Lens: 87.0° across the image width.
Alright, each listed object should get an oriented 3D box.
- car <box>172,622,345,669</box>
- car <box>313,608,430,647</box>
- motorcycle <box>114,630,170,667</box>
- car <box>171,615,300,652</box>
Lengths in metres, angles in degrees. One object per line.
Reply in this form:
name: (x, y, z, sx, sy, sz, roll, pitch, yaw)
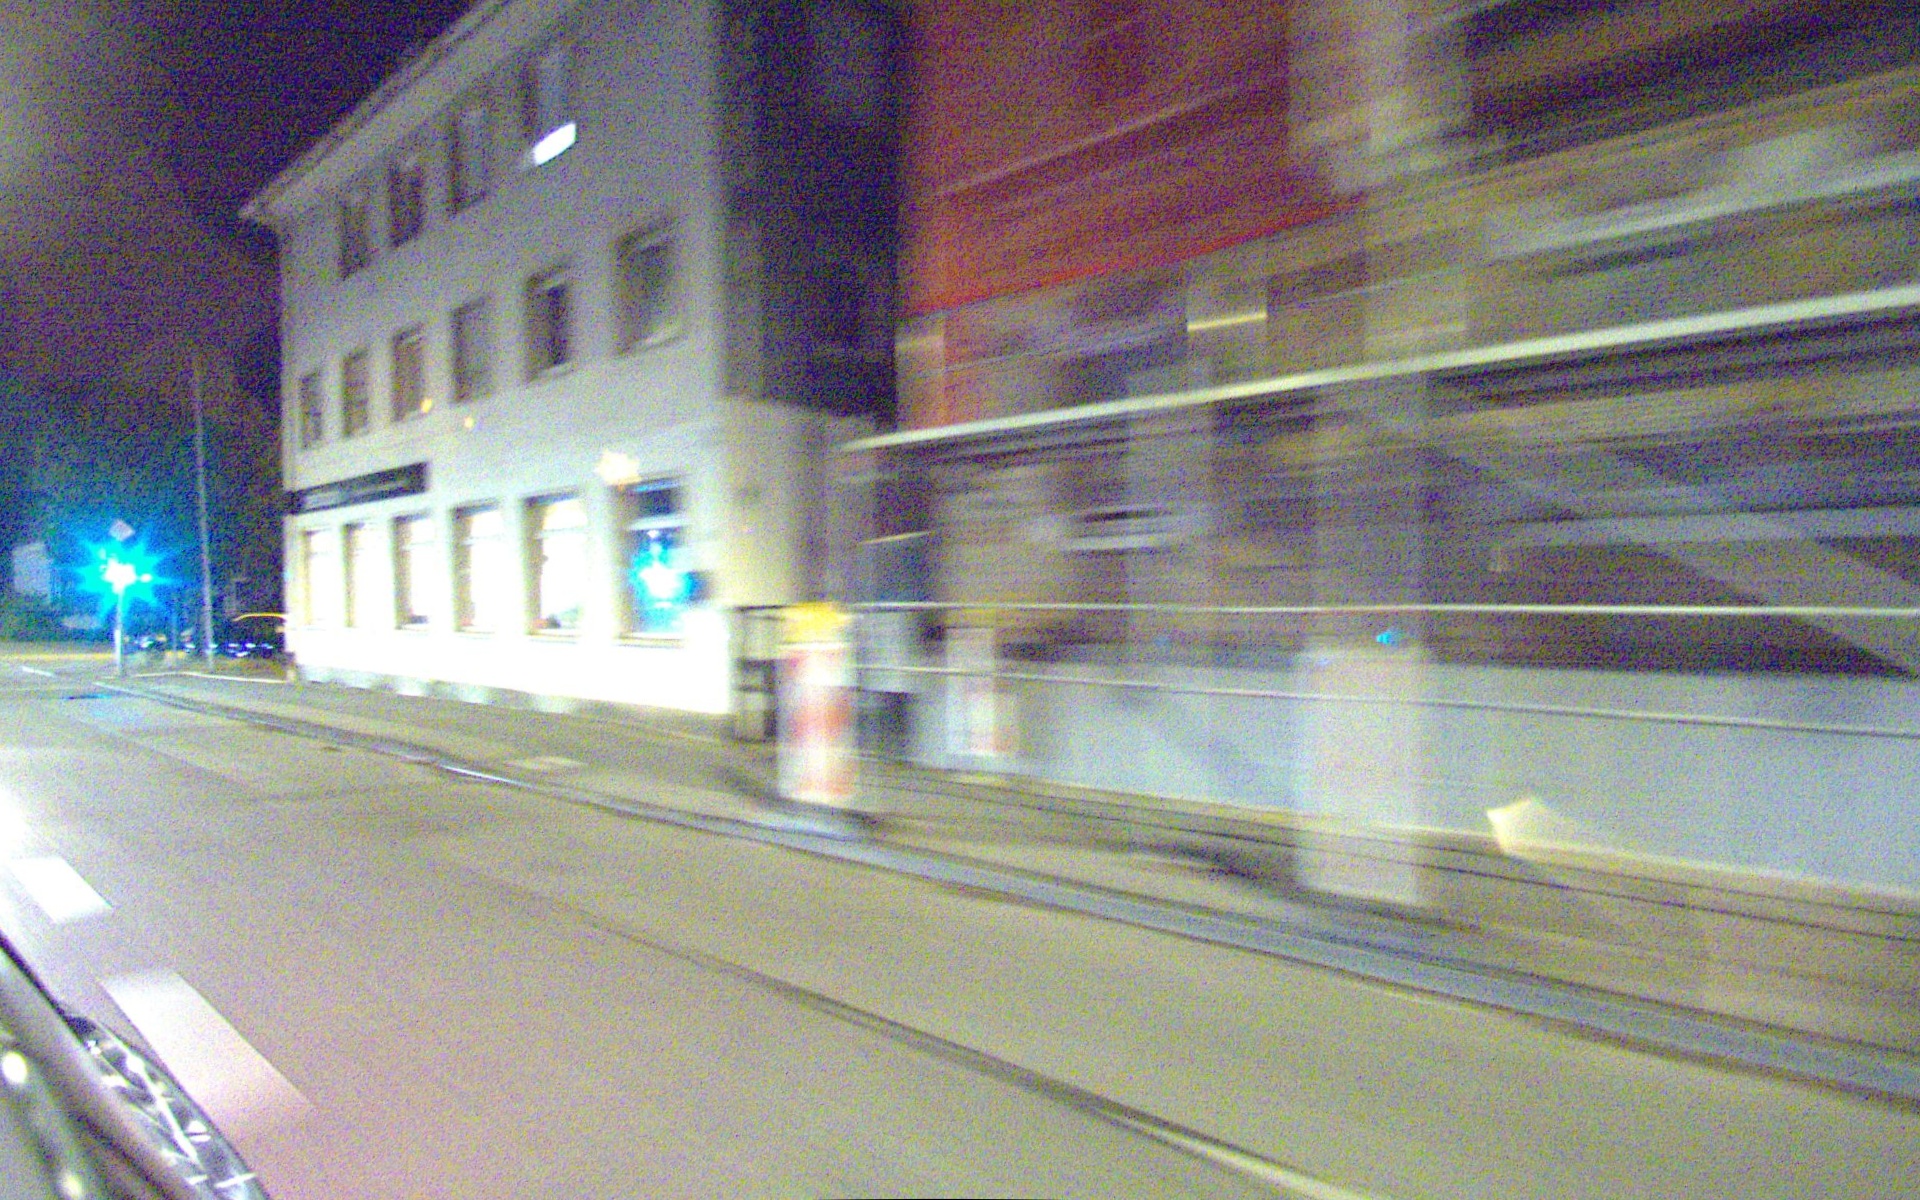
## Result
car: (-22.849, 1.462, 33.031, 4.677, 1.435, 1.887, 0, -1, 10)
car: (-30.687, 1.413, 52.913, 2.026, 1.904, 4.938, -2, -1, 39)
motorcycle: (-26.864, 1.571, 33.229, 2.020, 1.189, 0.569, -1, -1, 24)
car: (-34.301, 1.534, 47.988, 2.001, 1.641, 4.614, 0, -1, 39)
